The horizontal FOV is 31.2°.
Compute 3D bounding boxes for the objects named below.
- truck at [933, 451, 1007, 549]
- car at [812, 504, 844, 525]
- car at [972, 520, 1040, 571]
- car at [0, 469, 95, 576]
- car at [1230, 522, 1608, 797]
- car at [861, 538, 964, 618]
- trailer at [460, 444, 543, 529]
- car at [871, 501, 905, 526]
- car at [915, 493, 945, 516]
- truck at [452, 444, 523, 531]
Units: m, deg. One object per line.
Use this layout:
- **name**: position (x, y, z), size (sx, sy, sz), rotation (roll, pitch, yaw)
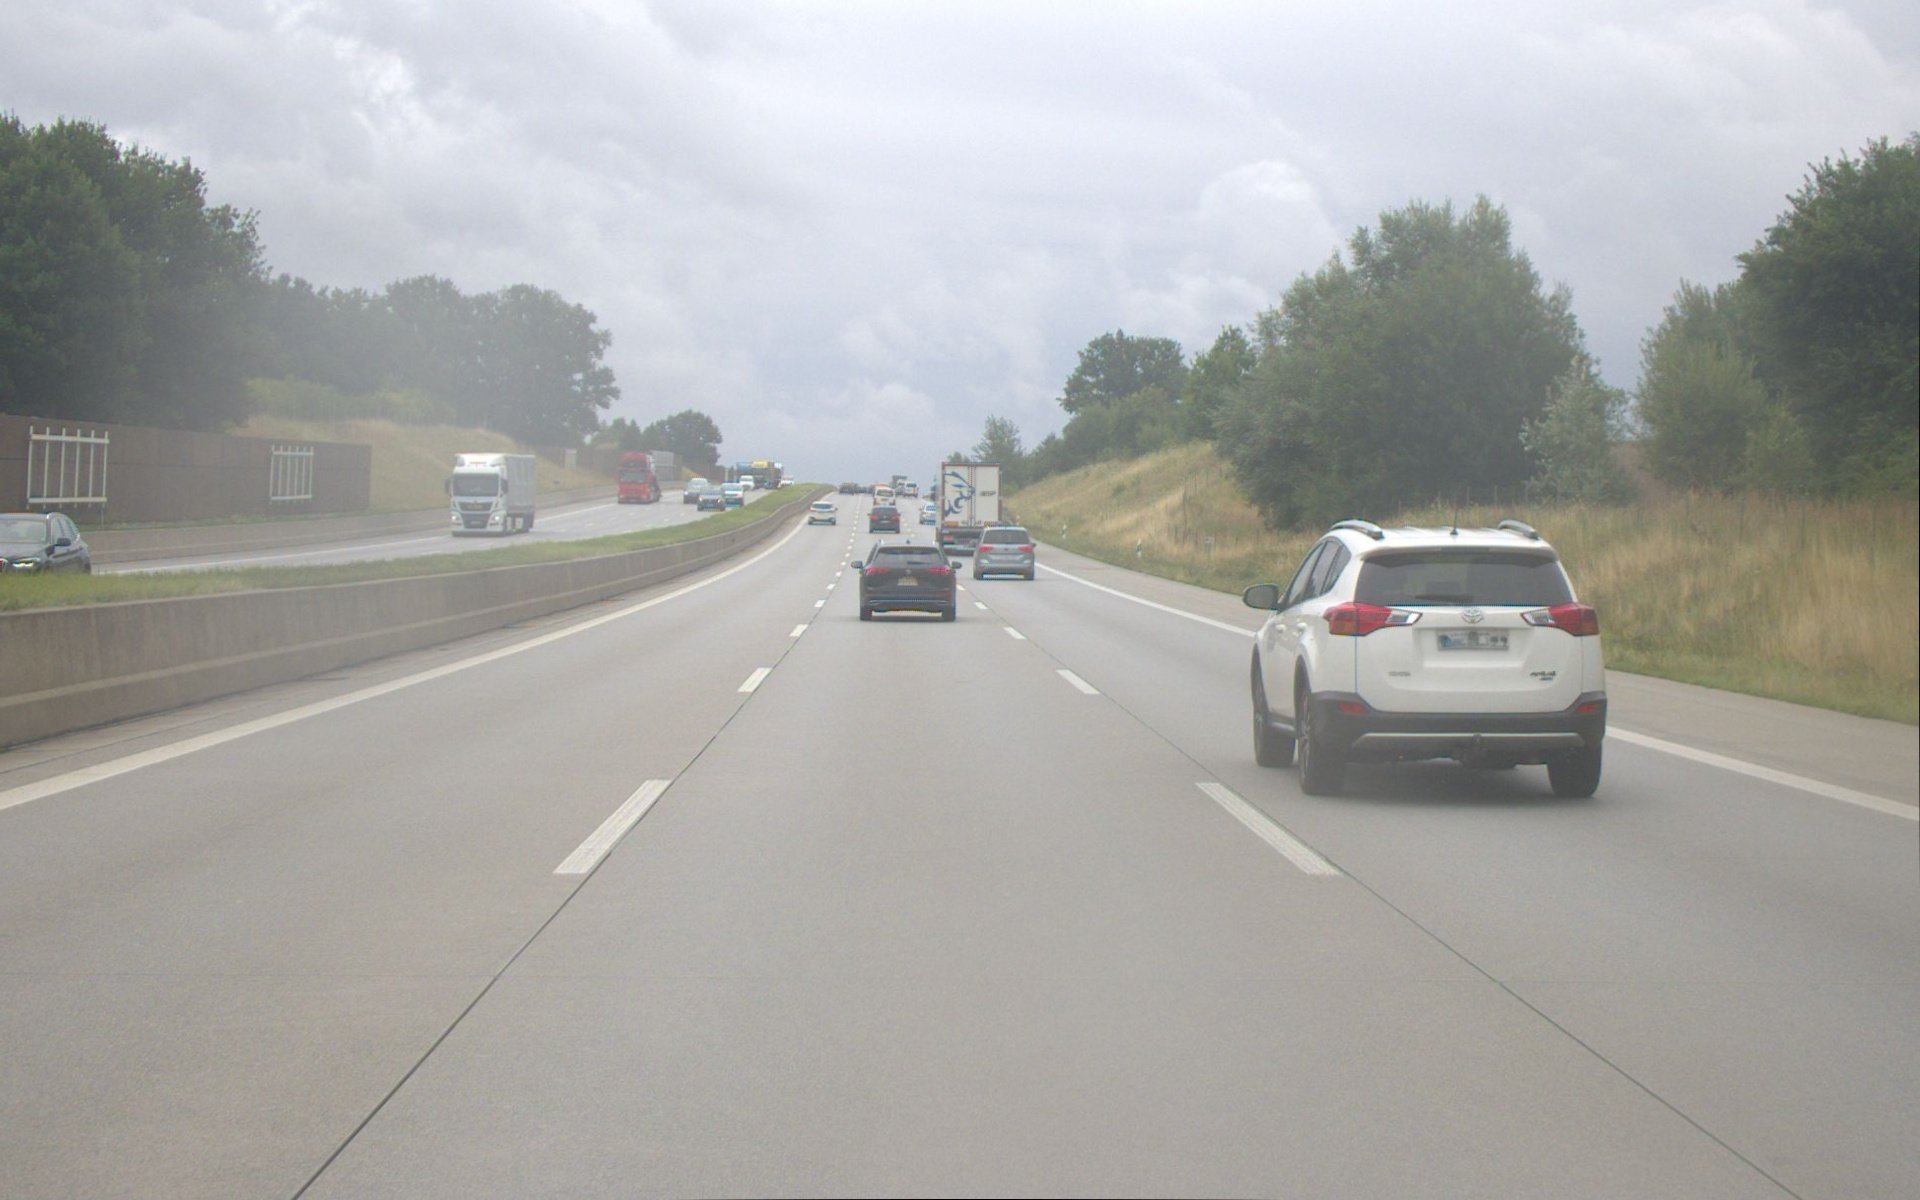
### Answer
- **truck**: position (0.381, -4.373, 151.503), size (3.017, 4.166, 8.355), rotation (1, 1, -1)
- **car**: position (-8.840, -5.721, 230.093), size (1.947, 1.351, 4.260), rotation (1, 2, 0)
- **car**: position (1.377, -1.665, 105.101), size (1.993, 1.525, 4.000), rotation (1, 1, 0)
- **car**: position (-16.367, -1.324, 59.326), size (1.816, 1.761, 4.733), rotation (1, 1, -2)
- **car**: position (2.943, 0.330, 22.871), size (1.825, 1.650, 3.985), rotation (1, 1, -2)
- **car**: position (-0.899, -0.422, 62.678), size (1.752, 1.393, 4.484), rotation (1, 1, -2)
- **trailer**: position (-23.129, -5.668, 174.045), size (2.696, 4.082, 14.007), rotation (1, 1, -2)
- **car**: position (-4.347, -5.253, 209.197), size (1.935, 1.370, 4.594), rotation (1, 0, 0)
- **car**: position (-2.135, -6.817, 245.935), size (1.993, 1.634, 4.000), rotation (1, 1, 1)
- **truck**: position (-22.939, -5.448, 167.170), size (2.682, 4.069, 6.217), rotation (1, 1, -1)
